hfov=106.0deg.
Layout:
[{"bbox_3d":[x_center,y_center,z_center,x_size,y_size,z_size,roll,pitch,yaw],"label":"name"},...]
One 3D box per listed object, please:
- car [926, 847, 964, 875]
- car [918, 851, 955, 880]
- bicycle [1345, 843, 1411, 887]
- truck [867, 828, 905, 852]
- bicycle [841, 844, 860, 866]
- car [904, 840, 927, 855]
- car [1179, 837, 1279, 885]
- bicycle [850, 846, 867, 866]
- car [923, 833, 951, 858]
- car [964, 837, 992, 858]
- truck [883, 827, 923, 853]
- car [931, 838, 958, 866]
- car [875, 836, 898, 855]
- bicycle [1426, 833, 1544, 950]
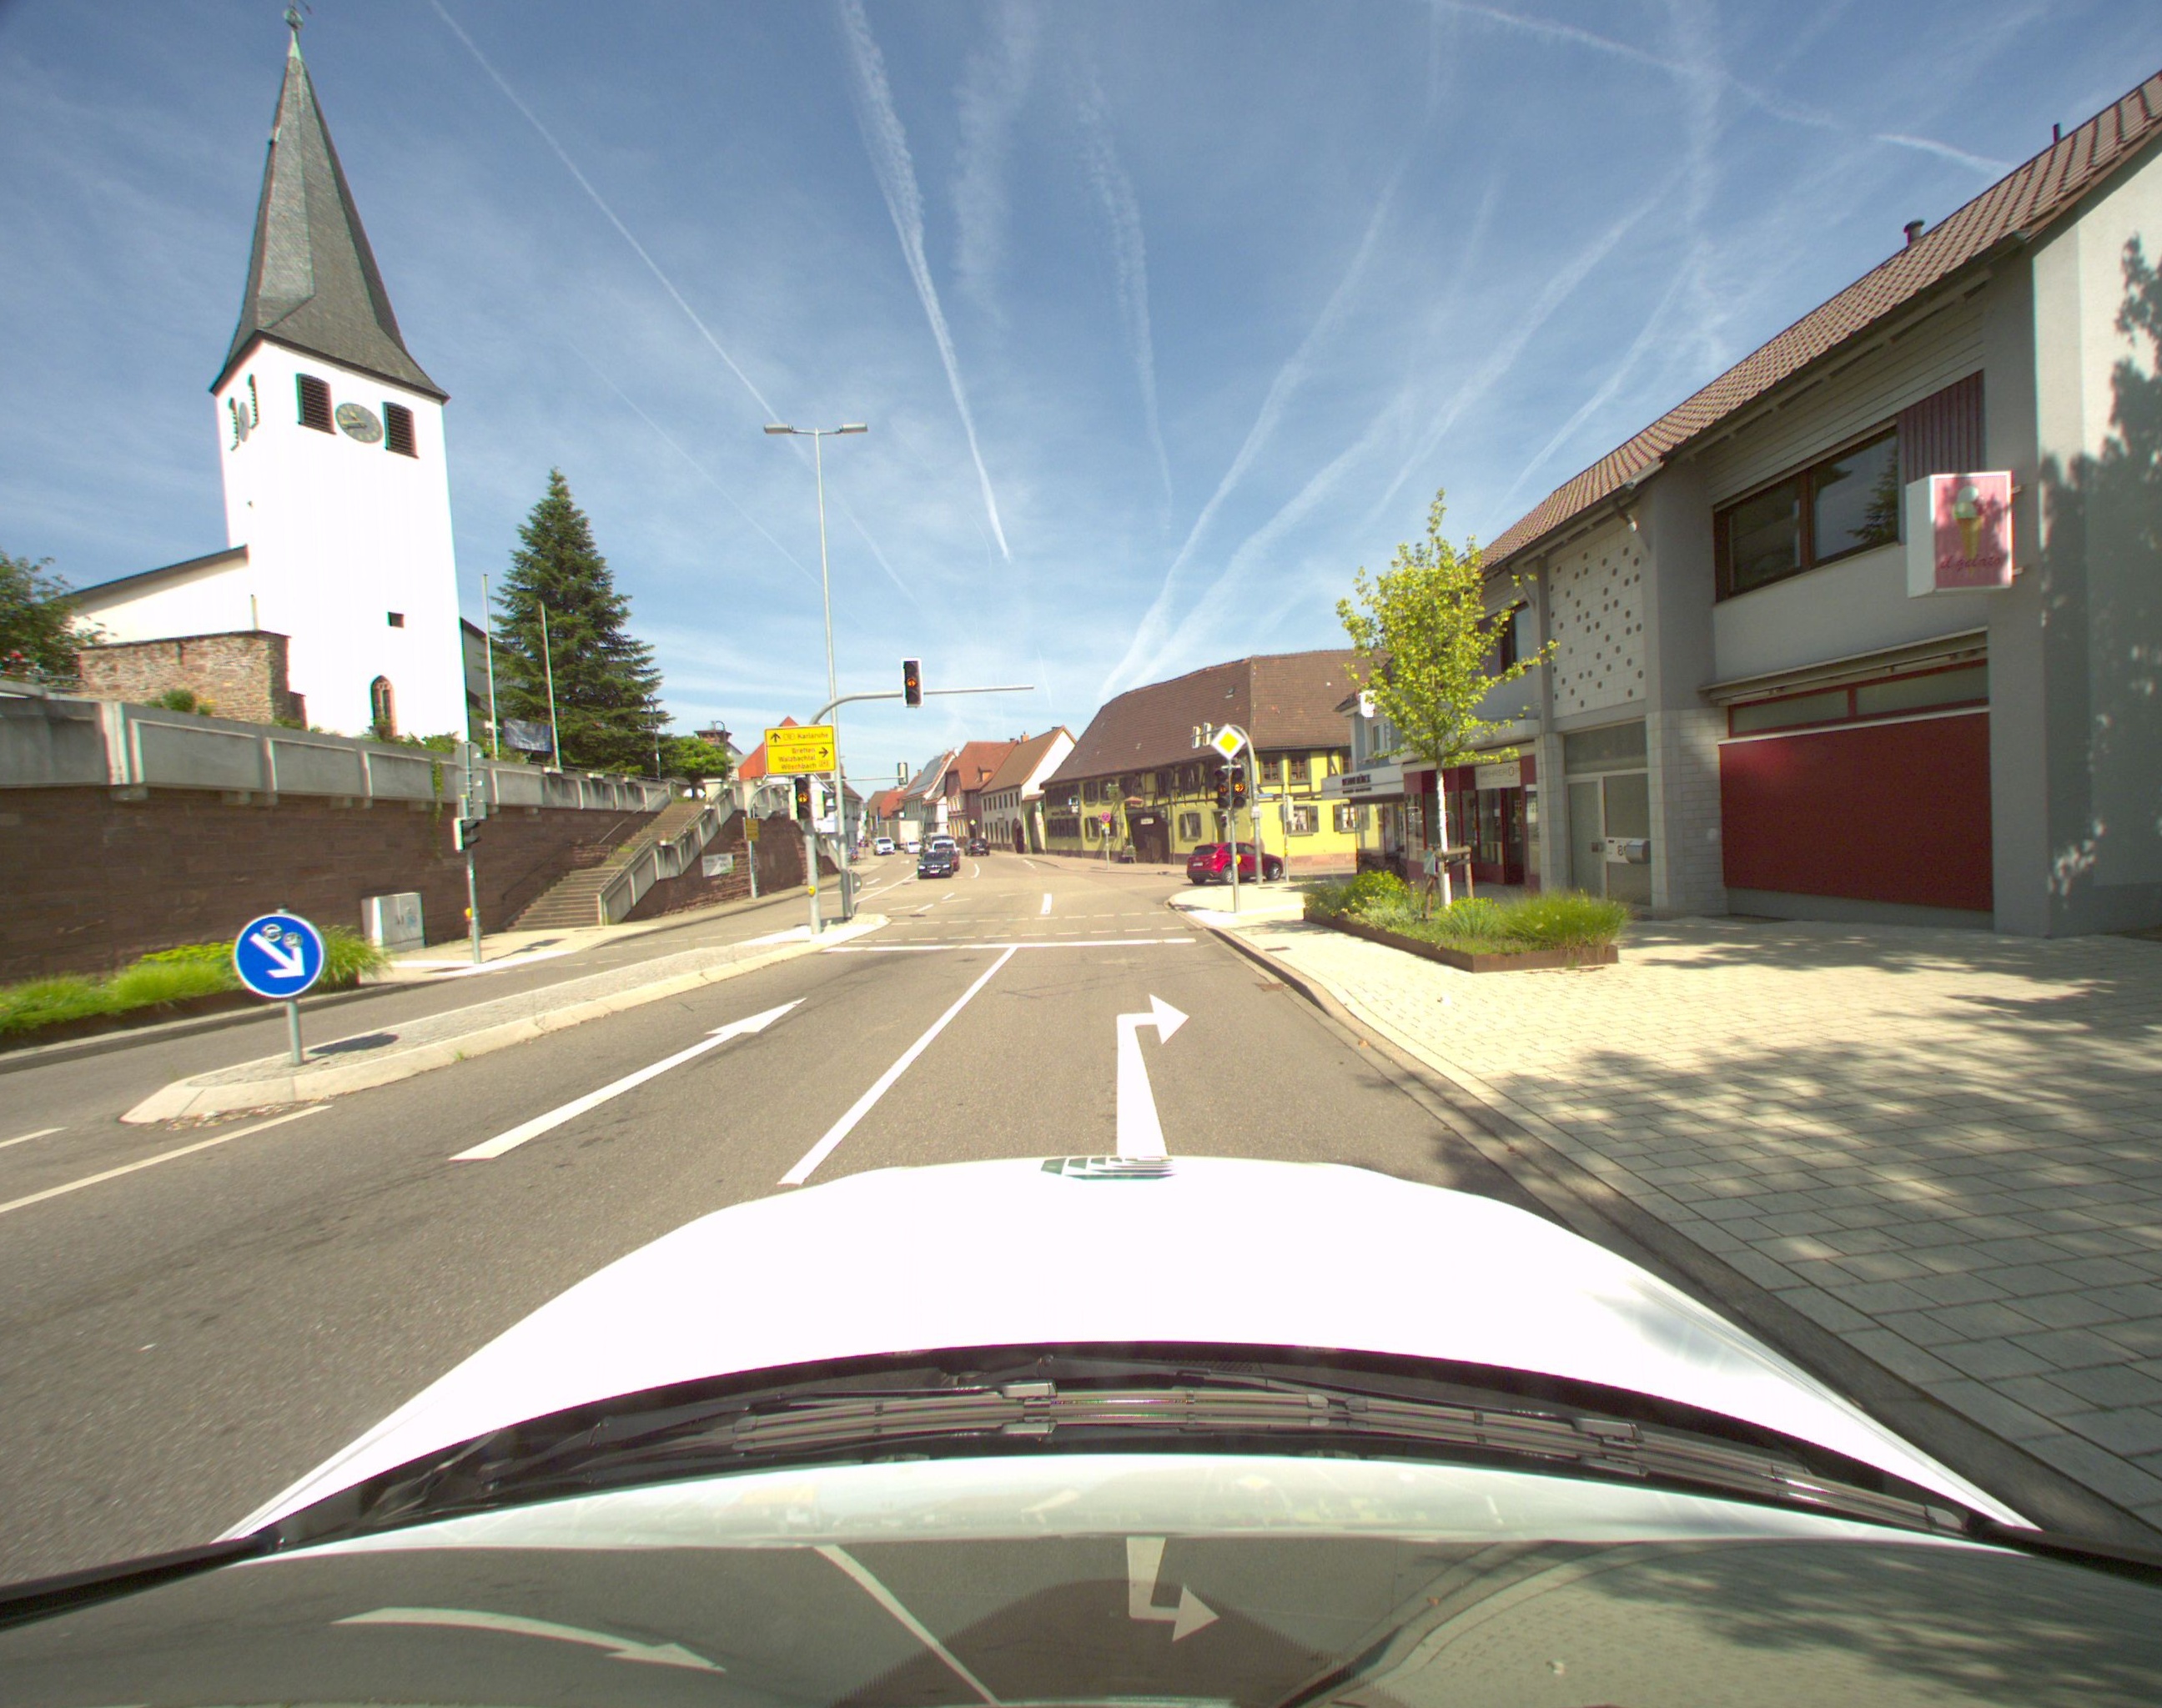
[{"bbox_3d":[-8.958,0.419,53.998,2.157,1.515,4.937,-2,2,-7],"label":"car"},{"bbox_3d":[-8.261,0.629,46.728,1.819,1.434,4.238,-3,2,-8],"label":"car"},{"bbox_3d":[9.238,0.331,25.376,1.797,1.234,0.550,-4,1,1],"label":"bicycle"},{"bbox_3d":[-29.391,-2.029,122.566,3.177,3.460,10.618,-1,0,-27],"label":"truck"},{"bbox_3d":[-19.301,0.057,68.240,0.638,1.779,2.672,-1,1,2],"label":"bicycle"},{"bbox_3d":[-18.728,-0.775,91.905,1.793,1.526,3.976,-4,2,-22],"label":"car"},{"bbox_3d":[5.945,0.256,32.561,3.831,1.663,1.790,-3,1,-38],"label":"car"},{"bbox_3d":[-18.346,0.139,67.292,0.555,1.607,2.564,-1,1,2],"label":"bicycle"},{"bbox_3d":[-13.352,-0.808,75.405,1.764,2.246,4.523,-1,1,-20],"label":"car"},{"bbox_3d":[-9.673,-0.634,76.341,1.825,1.738,3.982,-4,2,-17],"label":"car"},{"bbox_3d":[-24.918,-1.948,113.722,3.241,3.549,9.151,-1,1,-26],"label":"truck"},{"bbox_3d":[-10.303,-0.197,61.435,1.821,1.906,4.948,-3,2,-10],"label":"car"},{"bbox_3d":[-22.519,-0.961,93.984,2.143,1.966,5.247,-4,2,-17],"label":"car"},{"bbox_3d":[4.982,0.406,10.199,0.527,1.279,1.995,-6,1,5],"label":"bicycle"}]
